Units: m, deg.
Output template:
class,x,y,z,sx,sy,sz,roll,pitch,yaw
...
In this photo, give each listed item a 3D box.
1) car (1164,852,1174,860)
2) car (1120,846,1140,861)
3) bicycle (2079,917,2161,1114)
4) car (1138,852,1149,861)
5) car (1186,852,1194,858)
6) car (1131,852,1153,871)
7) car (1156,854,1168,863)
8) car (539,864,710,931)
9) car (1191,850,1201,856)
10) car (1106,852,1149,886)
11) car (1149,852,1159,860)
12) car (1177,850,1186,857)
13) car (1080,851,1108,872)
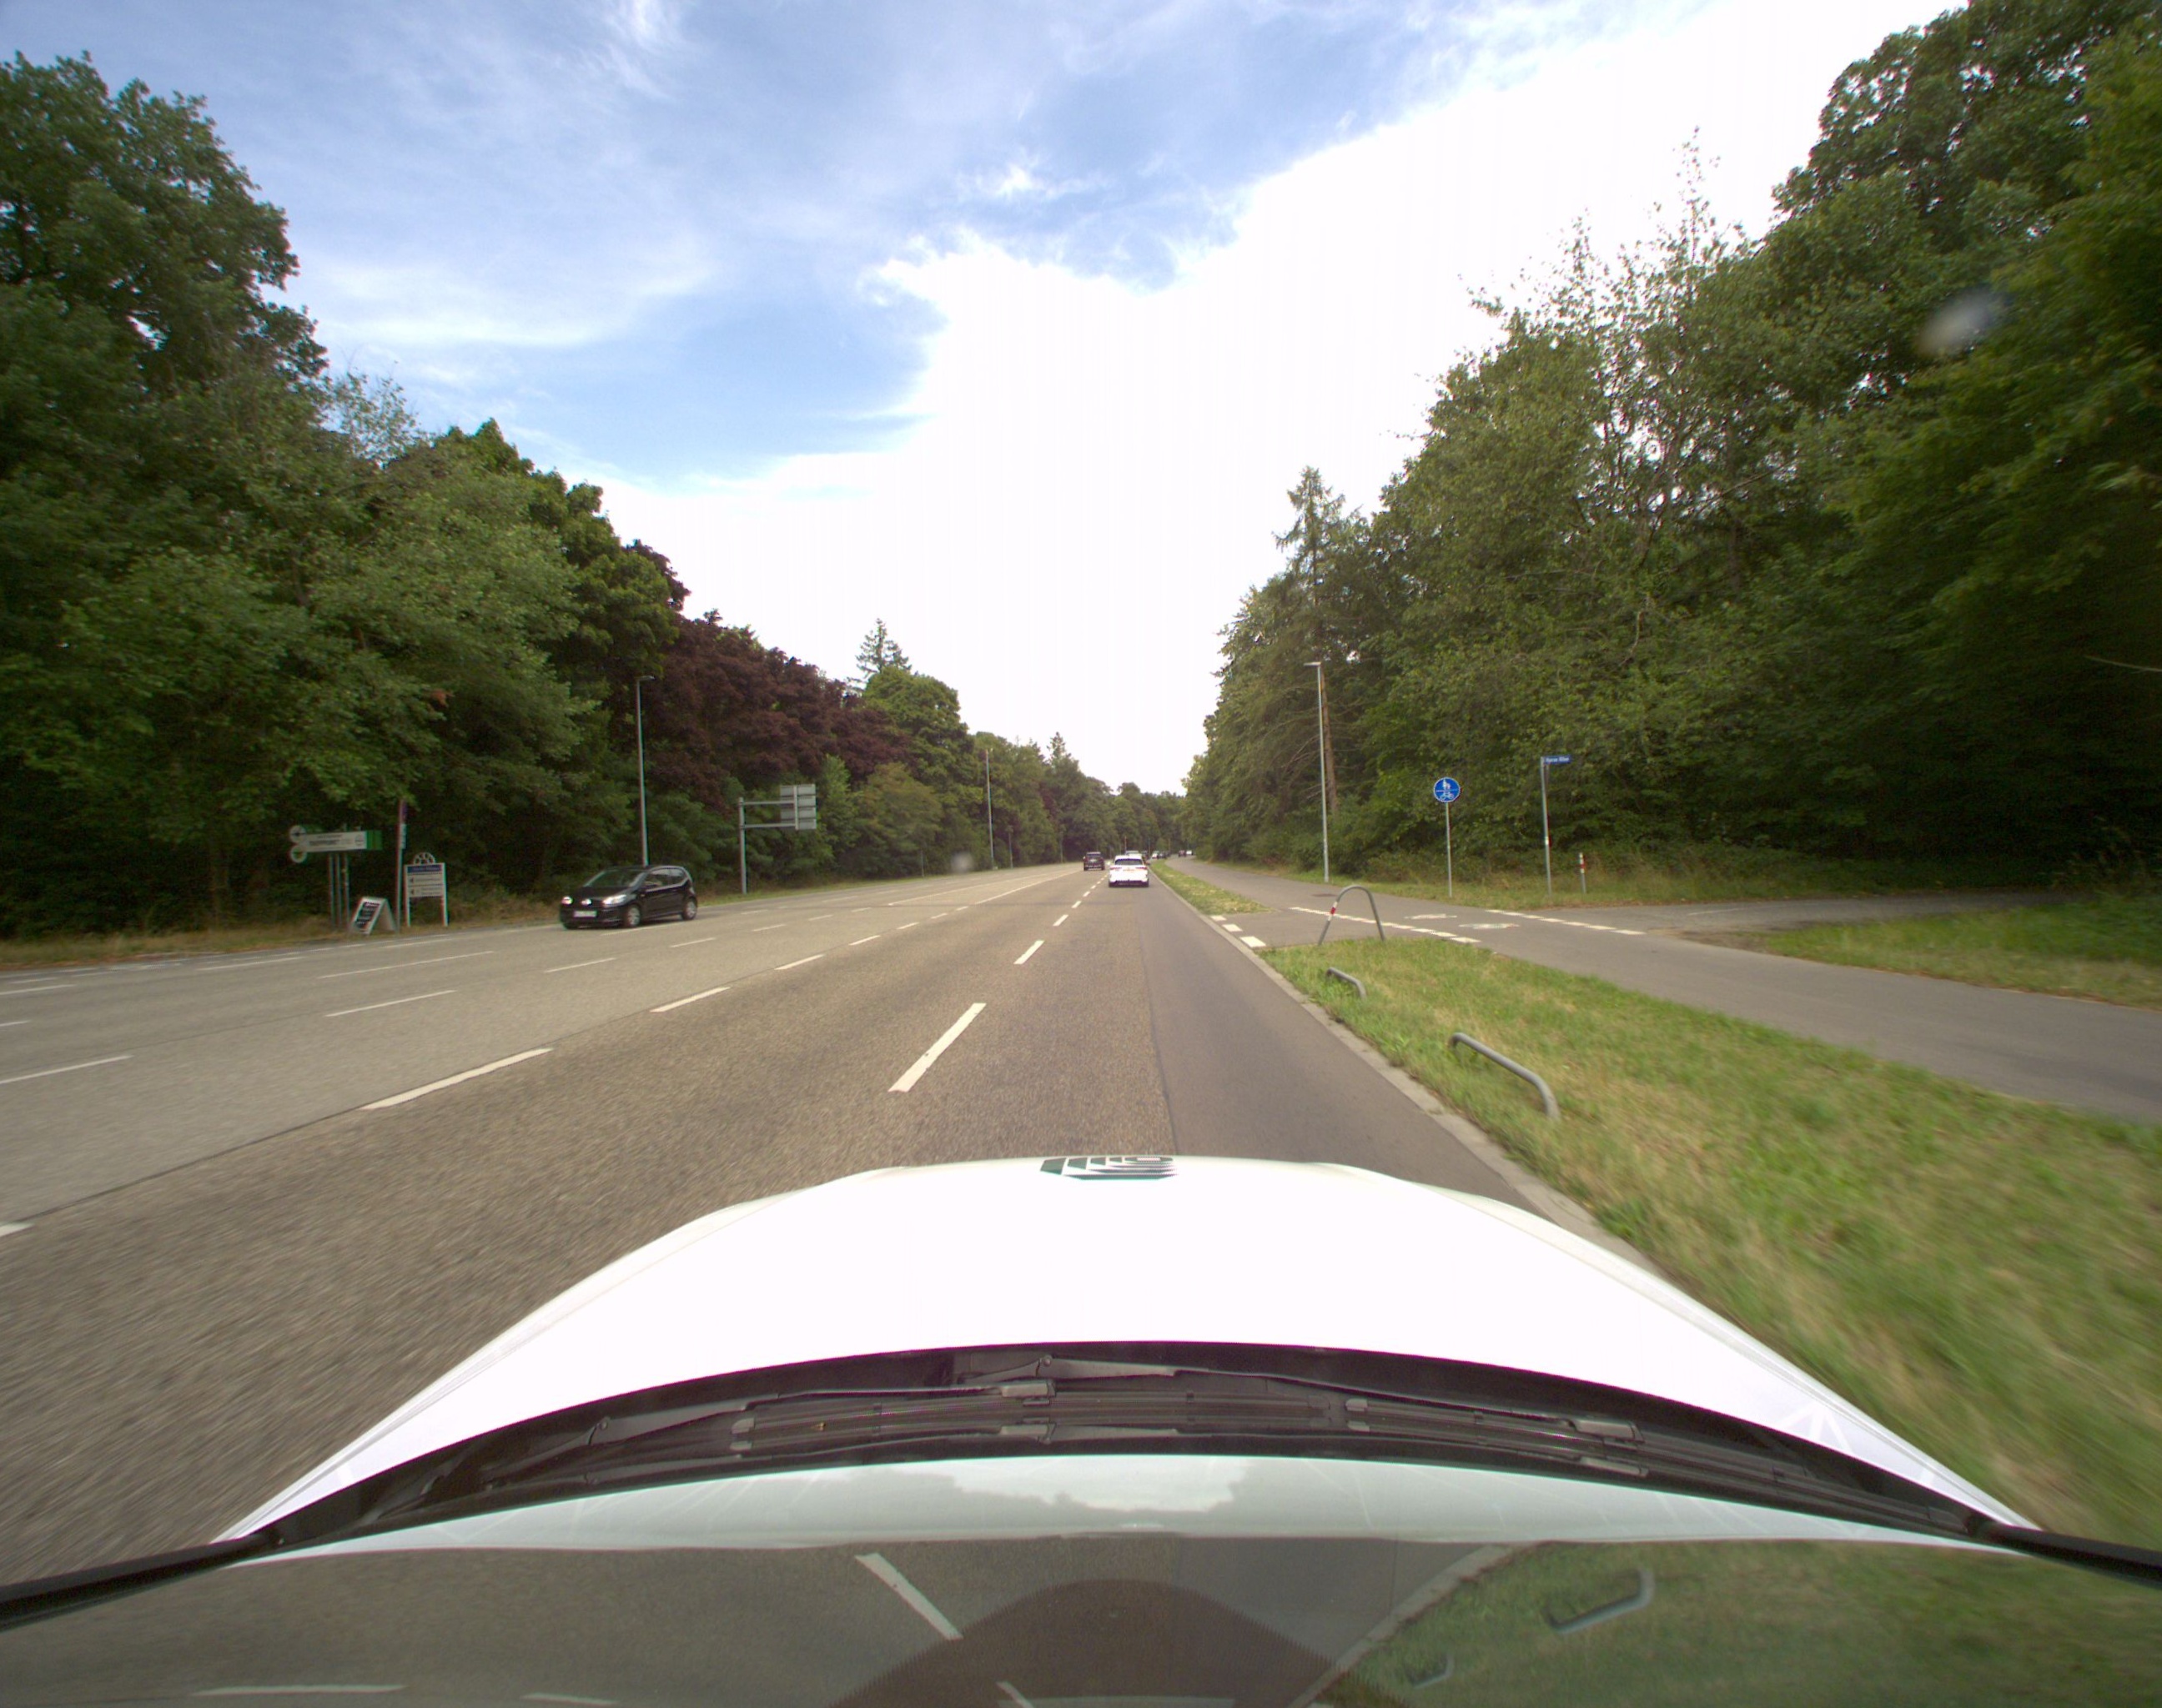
class,x,y,z,sx,sy,sz,roll,pitch,yaw
car,21.282,0.565,196.538,1.980,1.783,4.012,1,-1,11
car,5.242,-0.032,87.533,1.986,1.607,4.001,1,-1,2
bicycle,5.472,0.783,3.348,0.563,0.912,1.755,-4,-1,2
car,12.335,0.464,159.967,1.982,1.783,4.008,1,-1,8
car,32.907,0.354,246.256,1.874,1.816,4.016,0,-1,16
car,4.705,0.576,62.506,1.628,1.420,4.004,1,-1,4
car,16.086,0.861,161.894,1.981,1.783,4.012,1,-1,11
car,-10.959,0.985,19.902,1.734,1.475,4.003,0,-1,3
car,32.776,-0.273,232.041,1.978,1.409,4.018,0,-1,18
car,2.169,0.677,37.304,1.828,1.410,4.496,1,-1,5
car,16.129,0.451,180.160,1.982,1.783,4.008,1,-1,8
car,25.405,-0.090,206.241,1.980,1.783,4.013,1,-1,12
car,1.193,0.675,73.278,1.983,1.787,4.008,-2,-1,7
